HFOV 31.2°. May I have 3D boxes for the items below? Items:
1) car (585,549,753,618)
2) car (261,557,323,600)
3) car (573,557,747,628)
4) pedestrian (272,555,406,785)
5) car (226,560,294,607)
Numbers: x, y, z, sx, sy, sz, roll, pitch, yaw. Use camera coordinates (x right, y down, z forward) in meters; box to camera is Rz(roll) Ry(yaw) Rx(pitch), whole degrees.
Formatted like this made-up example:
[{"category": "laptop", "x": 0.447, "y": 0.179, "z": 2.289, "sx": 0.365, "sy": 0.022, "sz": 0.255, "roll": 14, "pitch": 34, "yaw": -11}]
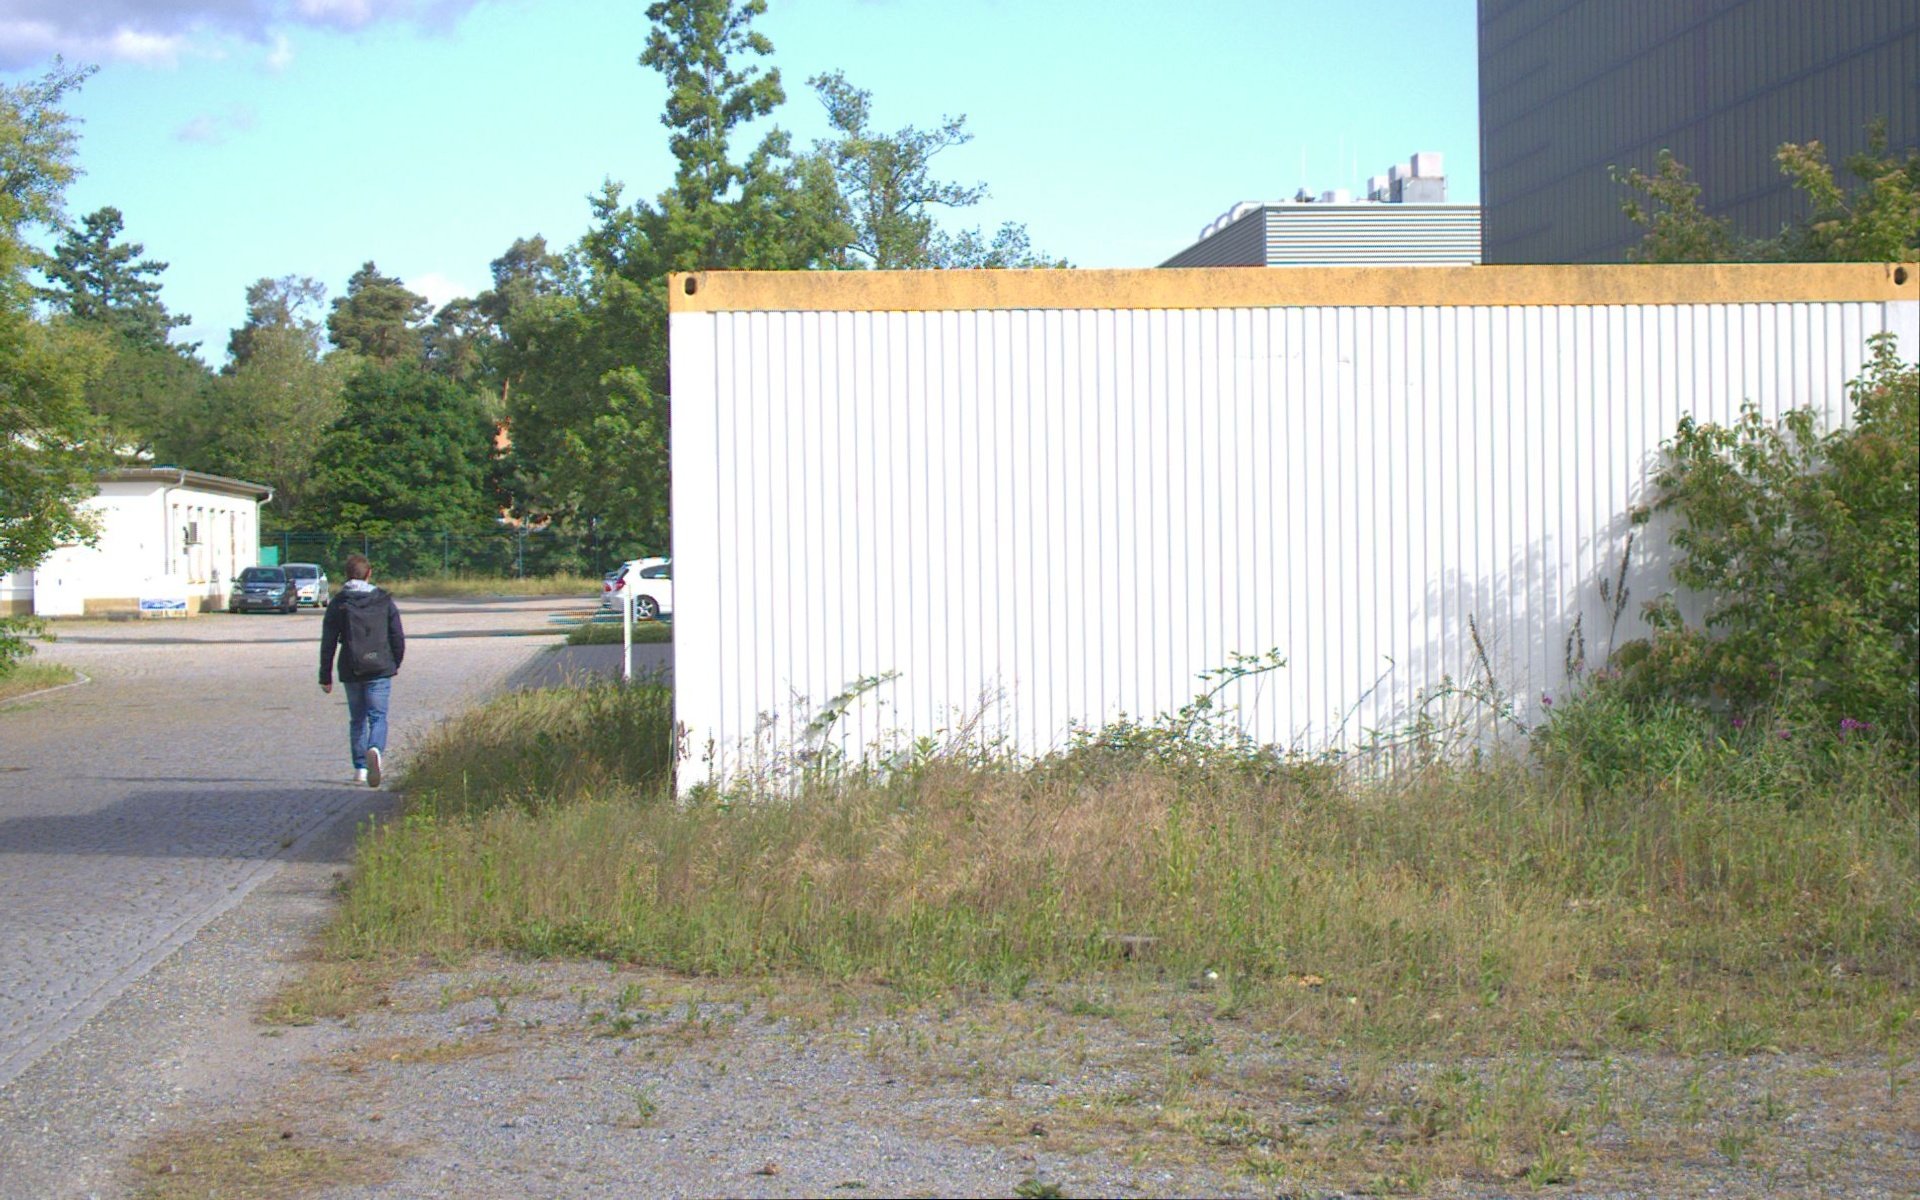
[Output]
[{"category": "car", "x": -7.206, "y": -0.415, "z": 85.461, "sx": 3.987, "sy": 1.637, "sz": 2.000, "roll": -1, "pitch": 1, "yaw": 0}, {"category": "car", "x": -22.539, "y": -0.733, "z": 115.921, "sx": 1.993, "sy": 1.371, "sz": 4.001, "roll": -1, "pitch": 1, "yaw": -12}, {"category": "car", "x": -7.204, "y": -0.185, "z": 82.824, "sx": 3.987, "sy": 1.637, "sz": 2.000, "roll": -1, "pitch": 1, "yaw": 0}, {"category": "pedestrian", "x": -4.320, "y": 0.469, "z": 23.986, "sx": 0.865, "sy": 1.553, "sz": 1.028, "roll": -1, "pitch": 1, "yaw": -8}, {"category": "car", "x": -21.525, "y": -0.526, "z": 105.689, "sx": 1.993, "sy": 1.366, "sz": 4.001, "roll": -1, "pitch": 1, "yaw": -12}]
